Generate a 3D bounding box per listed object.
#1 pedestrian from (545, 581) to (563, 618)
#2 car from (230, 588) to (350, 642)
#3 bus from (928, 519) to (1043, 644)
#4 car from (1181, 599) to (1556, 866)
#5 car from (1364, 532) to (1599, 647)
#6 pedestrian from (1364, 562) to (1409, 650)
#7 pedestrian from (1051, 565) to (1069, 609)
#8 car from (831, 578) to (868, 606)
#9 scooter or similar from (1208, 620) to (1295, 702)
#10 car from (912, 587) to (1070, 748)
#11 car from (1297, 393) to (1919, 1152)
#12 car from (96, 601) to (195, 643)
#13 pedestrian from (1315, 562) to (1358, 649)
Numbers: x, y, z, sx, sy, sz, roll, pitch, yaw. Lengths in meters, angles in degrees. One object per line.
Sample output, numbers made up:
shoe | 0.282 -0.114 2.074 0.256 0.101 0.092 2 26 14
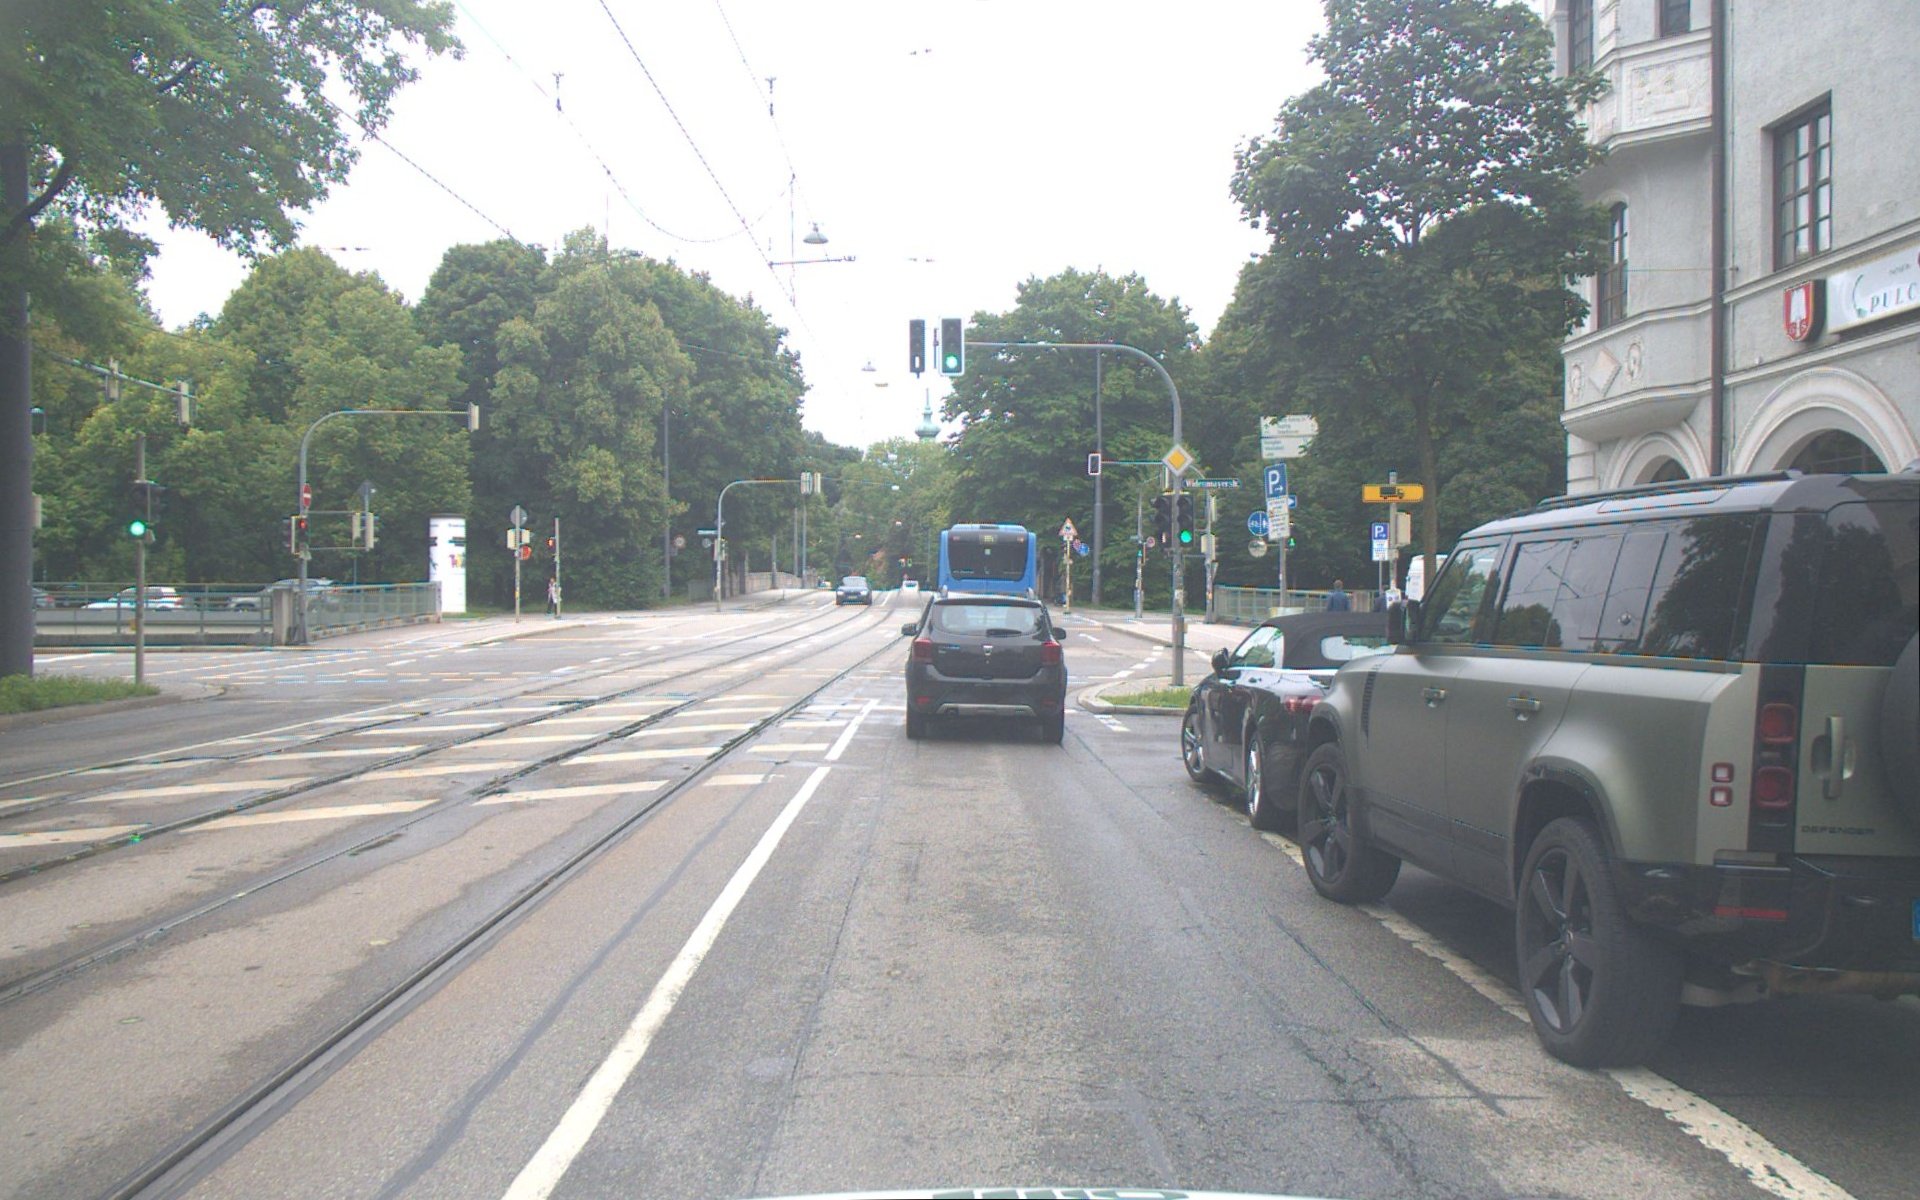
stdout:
pedestrian | -16.684 -0.018 67.921 0.520 1.527 0.588 2 0 4
car | -25.555 0.566 63.170 3.946 1.920 1.488 2 0 -8
bus | 0.570 -0.450 44.918 2.625 3.050 6.957 2 0 -3
car | 2.845 0.832 12.495 1.679 1.619 4.326 2 0 -1
car | 13.137 -0.255 41.867 5.191 2.658 2.229 2 0 -4
pedestrian | 10.099 0.135 39.189 0.813 2.049 0.780 2 0 -1
pedestrian | 4.972 -0.619 82.138 0.747 2.153 0.853 2 0 -1
car | -5.709 -0.414 85.948 1.752 1.394 3.399 2 0 -2
scooter or similar | 4.186 0.867 23.727 1.167 1.115 0.590 2 0 13
car | 0.275 0.691 18.567 1.568 1.584 3.524 2 0 -1
car | 2.924 0.470 6.698 1.876 1.939 4.805 2 0 -3
car | -30.546 0.829 62.093 3.050 1.477 1.249 2 0 -6
pedestrian | 9.071 0.128 39.852 0.813 2.049 0.780 2 0 -1
